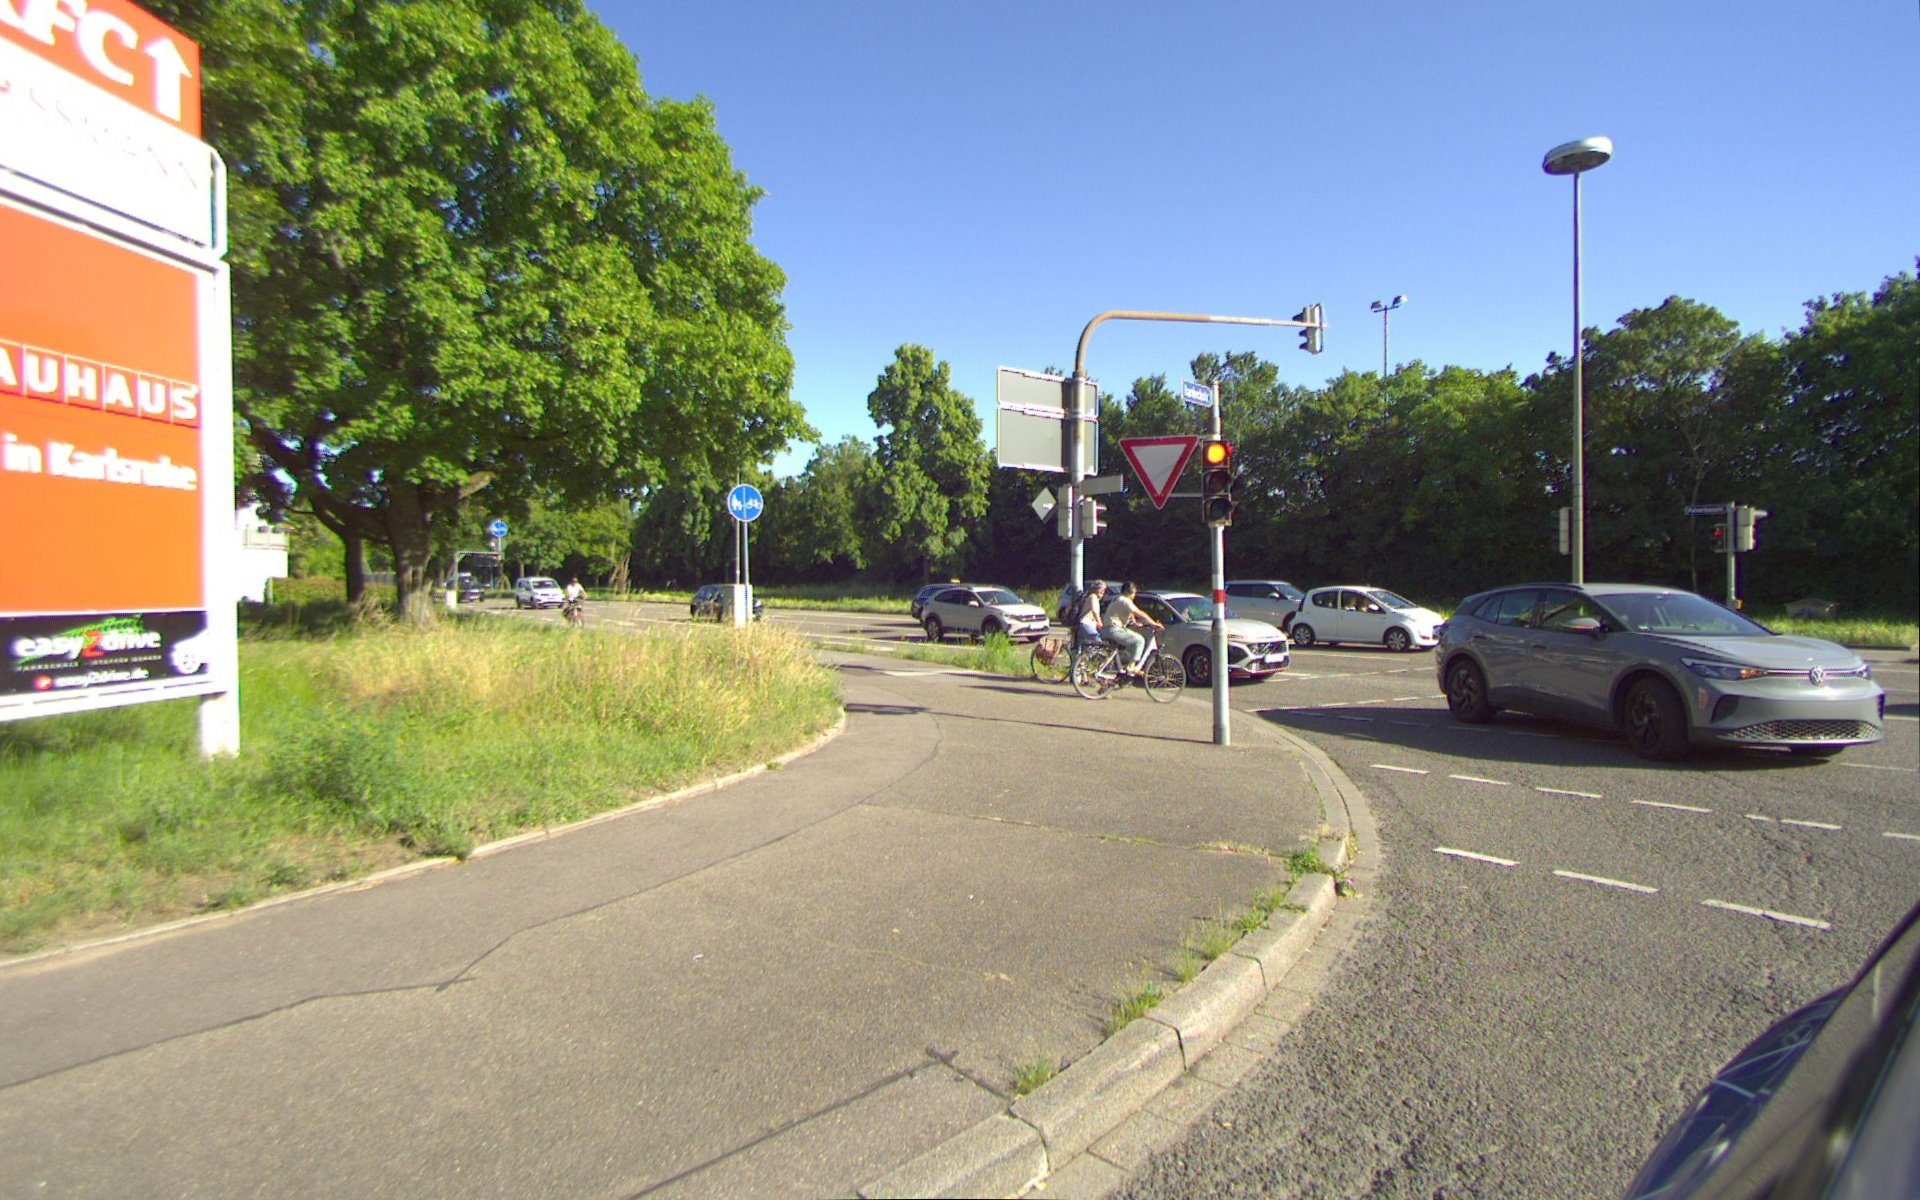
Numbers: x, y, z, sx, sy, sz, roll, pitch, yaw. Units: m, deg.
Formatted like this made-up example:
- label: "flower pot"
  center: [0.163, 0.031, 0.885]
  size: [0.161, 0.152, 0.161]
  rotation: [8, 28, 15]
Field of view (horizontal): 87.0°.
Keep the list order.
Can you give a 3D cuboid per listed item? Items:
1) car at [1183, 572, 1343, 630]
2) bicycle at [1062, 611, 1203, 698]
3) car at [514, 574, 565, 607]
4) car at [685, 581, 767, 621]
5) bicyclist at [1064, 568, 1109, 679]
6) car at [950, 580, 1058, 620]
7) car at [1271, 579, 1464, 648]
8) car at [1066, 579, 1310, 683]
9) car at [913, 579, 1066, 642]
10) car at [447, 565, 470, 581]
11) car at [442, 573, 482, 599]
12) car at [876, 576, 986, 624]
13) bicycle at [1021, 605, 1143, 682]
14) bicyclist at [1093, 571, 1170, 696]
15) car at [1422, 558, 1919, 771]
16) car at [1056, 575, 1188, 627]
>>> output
- label: "car"
  center: [8.755, -0.015, 29.504]
  size: [1.804, 1.557, 4.191]
  rotation: [0, 1, -39]
- label: "bicycle"
  center: [2.417, 0.766, 14.196]
  size: [1.831, 1.089, 0.532]
  rotation: [4, 2, -15]
- label: "car"
  center: [-25.123, -0.580, 60.389]
  size: [1.768, 1.820, 3.908]
  rotation: [-4, 3, -39]
- label: "car"
  center: [-9.557, -0.016, 41.177]
  size: [1.663, 1.457, 3.908]
  rotation: [-4, 3, -39]
- label: "bicyclist"
  center: [2.016, 0.365, 16.145]
  size: [0.575, 1.717, 0.527]
  rotation: [3, 2, 1]
- label: "car"
  center: [1.649, -0.047, 39.266]
  size: [1.804, 1.422, 4.351]
  rotation: [-1, 2, -39]
- label: "car"
  center: [9.440, 0.249, 23.691]
  size: [1.663, 1.457, 3.908]
  rotation: [-2, 2, -39]
- label: "car"
  center: [3.963, 0.504, 18.165]
  size: [1.663, 1.592, 4.116]
  rotation: [-3, 1, -39]
- label: "car"
  center: [0.730, 0.215, 27.972]
  size: [1.886, 1.504, 4.363]
  rotation: [-4, 3, -37]
- label: "car"
  center: [-70.403, -3.832, 142.024]
  size: [1.884, 2.110, 4.536]
  rotation: [-4, 3, -38]
- label: "car"
  center: [-37.183, -1.046, 75.531]
  size: [1.809, 1.820, 3.908]
  rotation: [-4, 3, -39]
- label: "car"
  center: [-1.073, -0.052, 36.276]
  size: [3.987, 1.559, 1.599]
  rotation: [1, 4, 44]
- label: "bicycle"
  center: [1.926, 0.687, 16.156]
  size: [1.835, 1.089, 0.531]
  rotation: [3, 2, 1]
- label: "bicyclist"
  center: [2.397, 0.461, 14.194]
  size: [0.791, 1.655, 0.544]
  rotation: [4, 2, -16]
- label: "car"
  center: [6.995, 0.434, 10.515]
  size: [1.954, 1.660, 4.373]
  rotation: [-2, 3, -7]
- label: "car"
  center: [5.330, -0.025, 33.801]
  size: [1.846, 1.594, 4.240]
  rotation: [-1, 2, -39]
